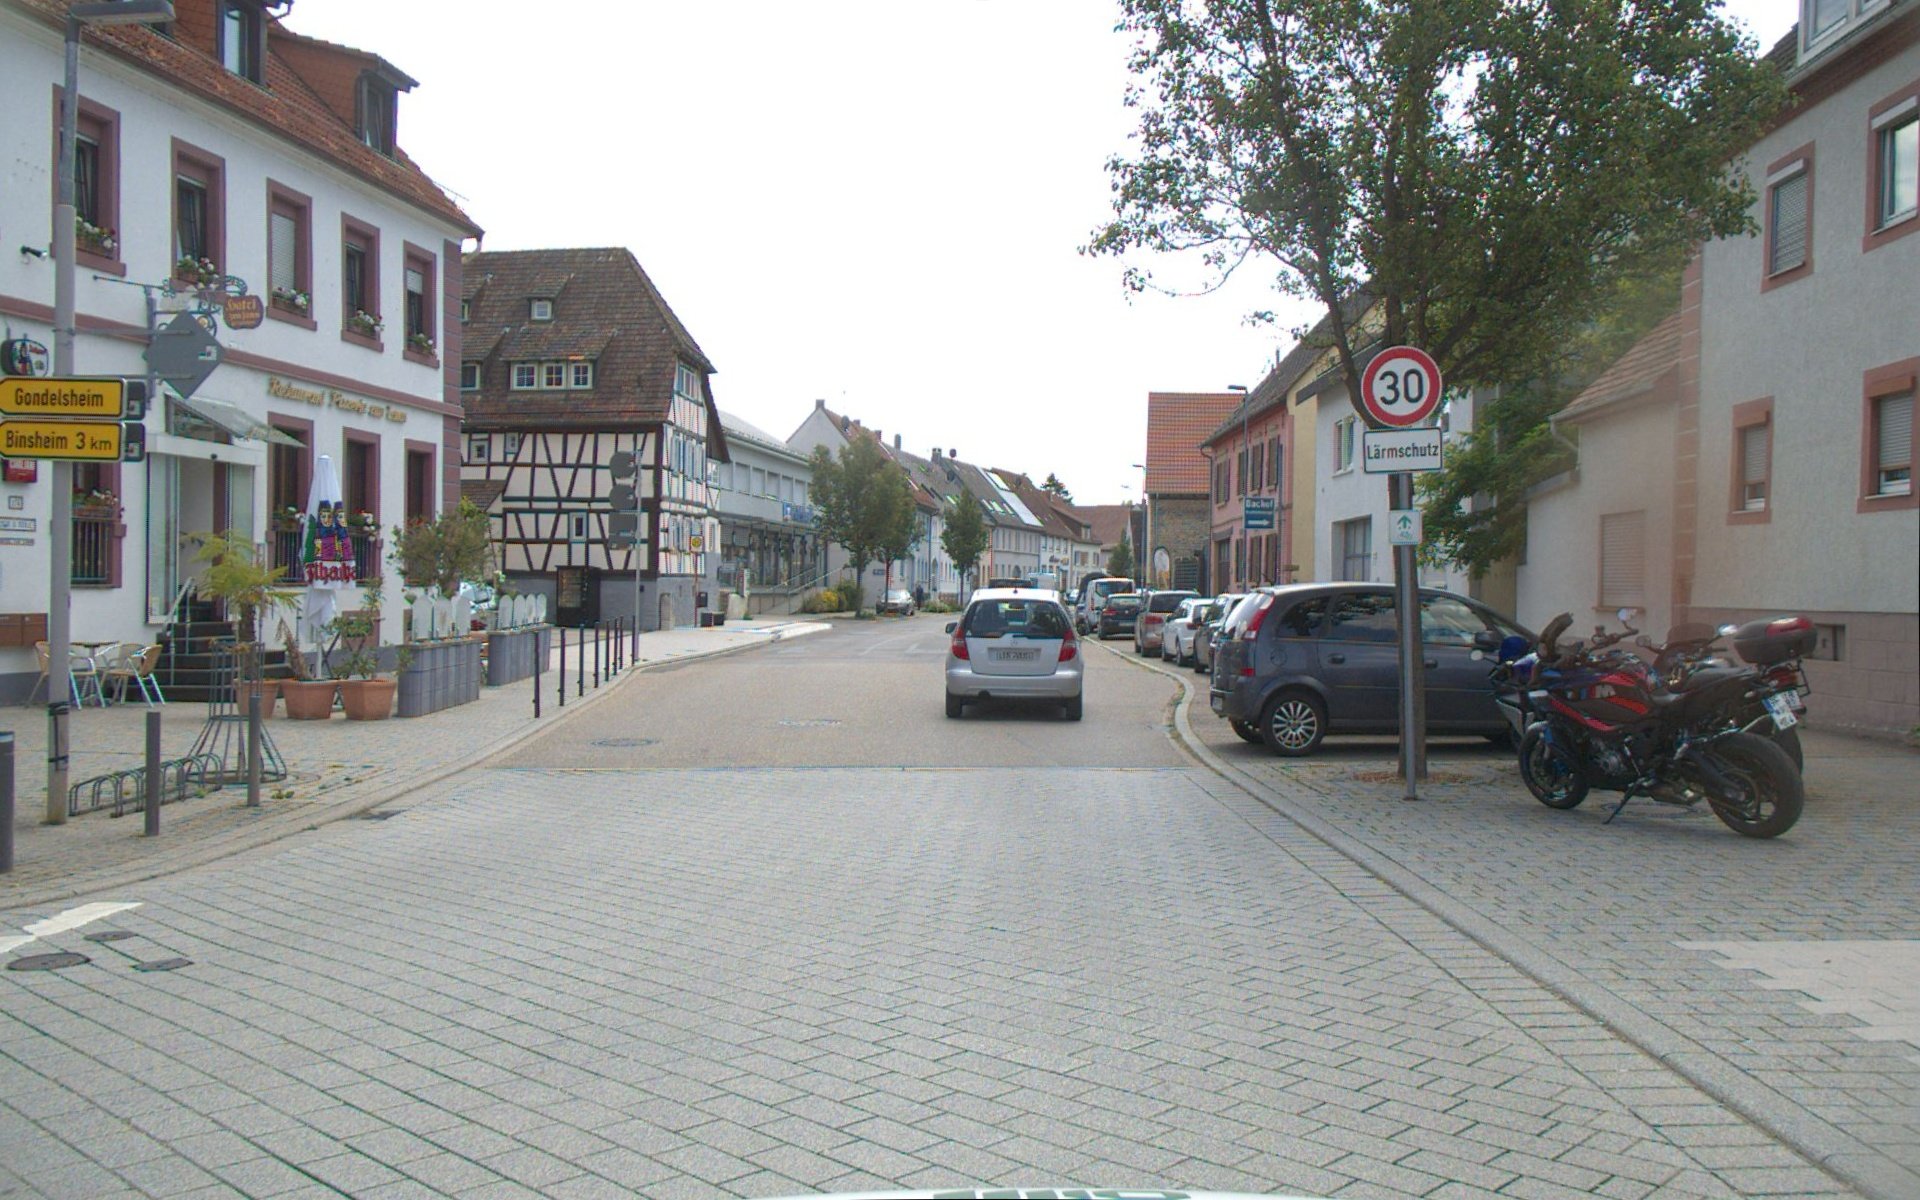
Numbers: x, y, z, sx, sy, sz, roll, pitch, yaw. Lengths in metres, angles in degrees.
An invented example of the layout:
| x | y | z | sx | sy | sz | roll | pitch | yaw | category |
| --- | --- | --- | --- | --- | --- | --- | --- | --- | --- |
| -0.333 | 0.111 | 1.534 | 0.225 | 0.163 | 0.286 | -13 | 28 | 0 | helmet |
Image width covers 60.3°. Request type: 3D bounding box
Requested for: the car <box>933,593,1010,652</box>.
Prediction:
| x | y | z | sx | sy | sz | roll | pitch | yaw | category |
| --- | --- | --- | --- | --- | --- | --- | --- | --- | --- |
| 0.347 | 0.546 | 43.554 | 1.905 | 1.432 | 4.001 | 1 | 1 | 2 | car |

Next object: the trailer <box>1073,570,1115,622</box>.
| x | y | z | sx | sy | sz | roll | pitch | yaw | category |
| --- | --- | --- | --- | --- | --- | --- | --- | --- | --- |
| 6.363 | -0.199 | 78.737 | 1.806 | 2.395 | 3.590 | 0 | 0 | 2 | trailer |

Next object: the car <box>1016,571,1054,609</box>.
| x | y | z | sx | sy | sz | roll | pitch | yaw | category |
| --- | --- | --- | --- | --- | --- | --- | --- | --- | --- |
| 4.730 | -0.604 | 103.620 | 2.188 | 2.261 | 4.002 | 0 | 0 | 5 | car |

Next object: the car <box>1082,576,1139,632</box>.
| x | y | z | sx | sy | sz | roll | pitch | yaw | category |
| --- | --- | --- | --- | --- | --- | --- | --- | --- | --- |
| 5.781 | 0.125 | 63.976 | 1.853 | 2.016 | 4.932 | -2 | 0 | 2 | car |

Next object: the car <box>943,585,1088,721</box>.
| x | y | z | sx | sy | sz | roll | pitch | yaw | category |
| --- | --- | --- | --- | --- | --- | --- | --- | --- | --- |
| 0.691 | 0.638 | 21.989 | 1.732 | 1.622 | 4.000 | -1 | 0 | 0 | car |

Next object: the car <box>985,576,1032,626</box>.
| x | y | z | sx | sy | sz | roll | pitch | yaw | category |
| --- | --- | --- | --- | --- | --- | --- | --- | --- | --- |
| 2.034 | 0.039 | 68.380 | 1.732 | 1.920 | 4.449 | 3 | 0 | 3 | car |

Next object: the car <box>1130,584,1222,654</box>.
| x | y | z | sx | sy | sz | roll | pitch | yaw | category |
| --- | --- | --- | --- | --- | --- | --- | --- | --- | --- |
| 5.508 | 0.455 | 42.641 | 1.952 | 1.710 | 4.324 | 0 | 0 | 2 | car |

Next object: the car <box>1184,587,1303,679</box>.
| x | y | z | sx | sy | sz | roll | pitch | yaw | category |
| --- | --- | --- | --- | --- | --- | --- | --- | --- | --- |
| 5.445 | 0.582 | 32.220 | 1.628 | 1.653 | 4.272 | 0 | 0 | 1 | car |

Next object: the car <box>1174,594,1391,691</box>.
| x | y | z | sx | sy | sz | roll | pitch | yaw | category |
| --- | --- | --- | --- | --- | --- | --- | --- | --- | --- |
| 5.443 | 0.671 | 27.940 | 3.188 | 1.531 | 1.811 | 0 | 0 | -27 | car |

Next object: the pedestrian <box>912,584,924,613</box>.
| x | y | z | sx | sy | sz | roll | pitch | yaw | category |
| --- | --- | --- | --- | --- | --- | --- | --- | --- | --- |
| -2.715 | -0.105 | 106.618 | 0.723 | 1.833 | 0.643 | 0 | -1 | 3 | pedestrian |

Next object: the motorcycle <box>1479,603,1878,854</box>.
| x | y | z | sx | sy | sz | roll | pitch | yaw | category |
| --- | --- | --- | --- | --- | --- | --- | --- | --- | --- |
| 4.538 | 0.740 | 10.578 | 0.866 | 1.419 | 2.189 | 0 | 0 | -45 | motorcycle |

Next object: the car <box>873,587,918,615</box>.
| x | y | z | sx | sy | sz | roll | pitch | yaw | category |
| --- | --- | --- | --- | --- | --- | --- | --- | --- | --- |
| -3.555 | 0.022 | 91.848 | 1.766 | 1.486 | 4.161 | 1 | 1 | 7 | car |

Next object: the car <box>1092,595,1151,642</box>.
| x | y | z | sx | sy | sz | roll | pitch | yaw | category |
| --- | --- | --- | --- | --- | --- | --- | --- | --- | --- |
| 5.439 | 0.591 | 55.993 | 1.737 | 1.521 | 4.163 | 0 | 0 | 2 | car |

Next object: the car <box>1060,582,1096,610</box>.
| x | y | z | sx | sy | sz | roll | pitch | yaw | category |
| --- | --- | --- | --- | --- | --- | --- | --- | --- | --- |
| 6.947 | -0.265 | 97.905 | 1.952 | 1.586 | 4.001 | -1 | 0 | 2 | car |

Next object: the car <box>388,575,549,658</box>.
| x | y | z | sx | sy | sz | roll | pitch | yaw | category |
| --- | --- | --- | --- | --- | --- | --- | --- | --- | --- |
| -10.272 | 0.309 | 34.903 | 1.721 | 1.518 | 4.278 | 4 | 1 | 5 | car |

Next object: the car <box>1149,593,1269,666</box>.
| x | y | z | sx | sy | sz | roll | pitch | yaw | category |
| --- | --- | --- | --- | --- | --- | --- | --- | --- | --- |
| 5.586 | 0.615 | 37.599 | 1.953 | 1.544 | 4.370 | 0 | 0 | -2 | car |

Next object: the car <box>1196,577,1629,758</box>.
| x | y | z | sx | sy | sz | roll | pitch | yaw | category |
| --- | --- | --- | --- | --- | --- | --- | --- | --- | --- |
| 4.385 | 0.625 | 16.447 | 3.770 | 1.605 | 1.850 | -1 | 0 | -2 | car |

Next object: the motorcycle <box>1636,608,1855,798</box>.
| x | y | z | sx | sy | sz | roll | pitch | yaw | category |
| --- | --- | --- | --- | --- | --- | --- | --- | --- | --- |
| 6.038 | 0.743 | 12.872 | 0.939 | 1.321 | 2.227 | -1 | 0 | 10 | motorcycle |

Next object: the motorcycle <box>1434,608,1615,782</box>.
| x | y | z | sx | sy | sz | roll | pitch | yaw | category |
| --- | --- | --- | --- | --- | --- | --- | --- | --- | --- |
| 4.639 | 0.732 | 13.770 | 0.616 | 1.321 | 2.181 | -1 | 0 | -4 | motorcycle |

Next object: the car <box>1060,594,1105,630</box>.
| x | y | z | sx | sy | sz | roll | pitch | yaw | category |
| --- | --- | --- | --- | --- | --- | --- | --- | --- | --- |
| 5.442 | 0.513 | 73.835 | 1.836 | 1.507 | 4.676 | 1 | 1 | 2 | car |
